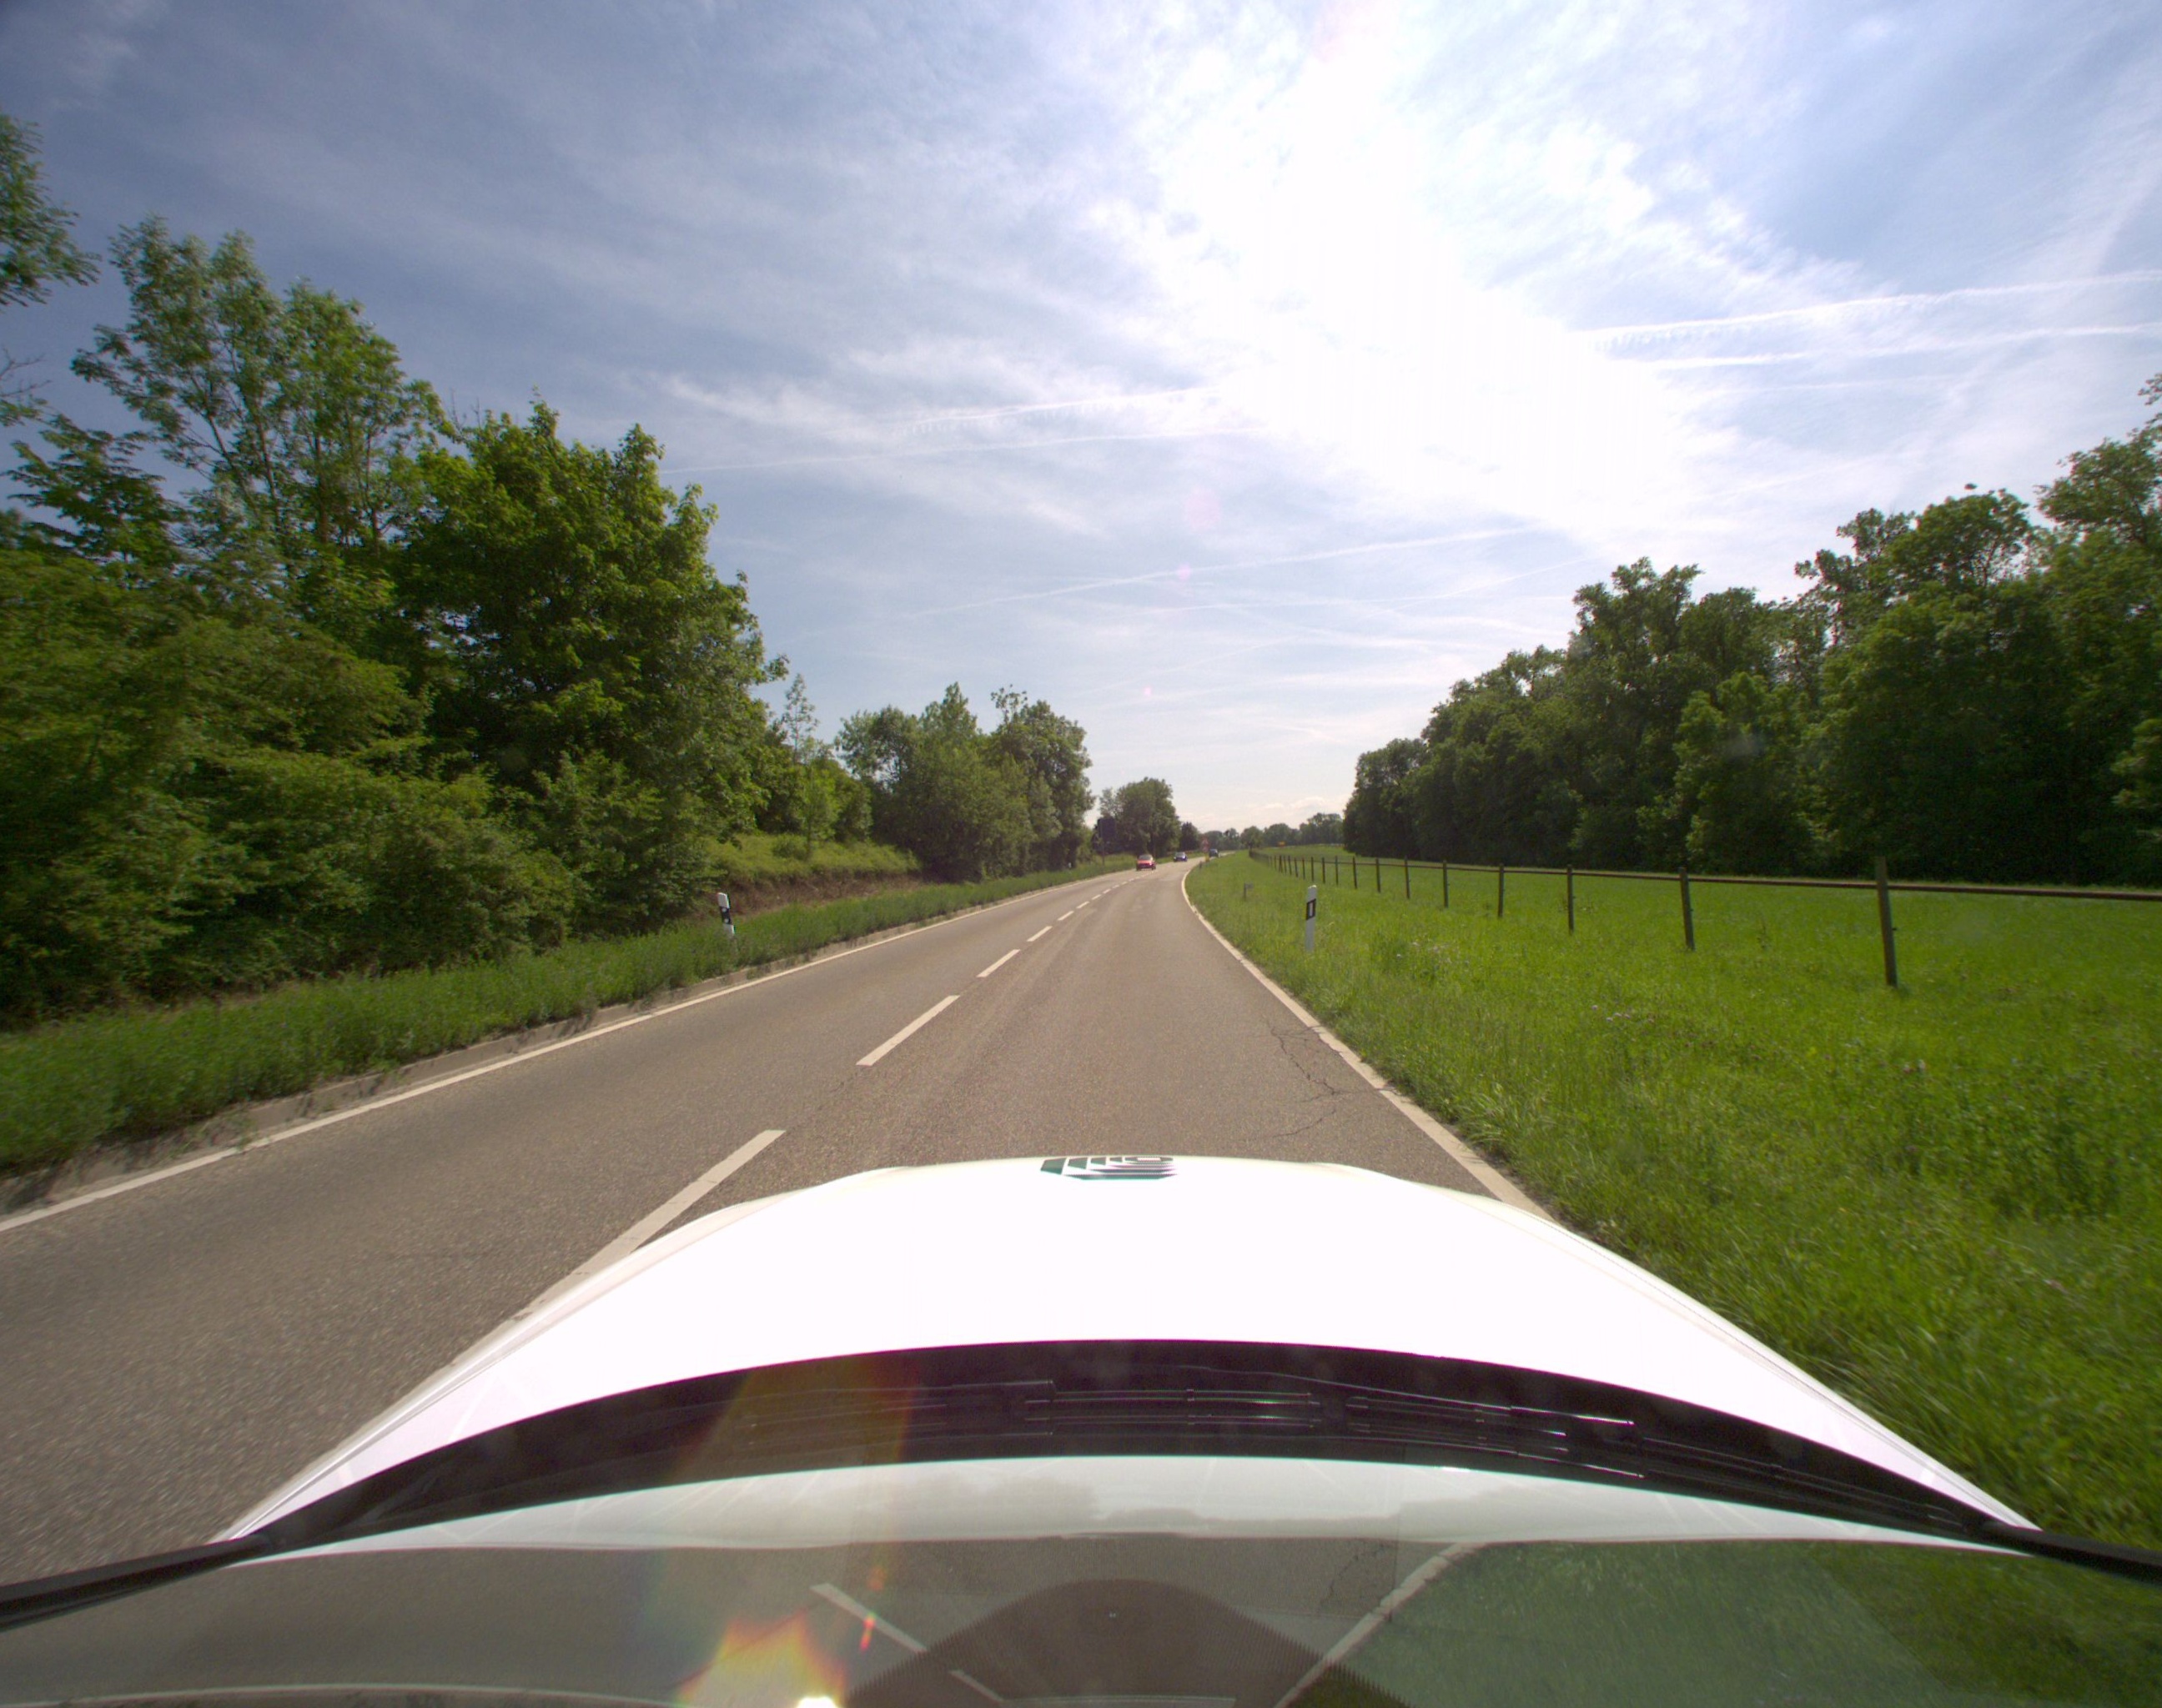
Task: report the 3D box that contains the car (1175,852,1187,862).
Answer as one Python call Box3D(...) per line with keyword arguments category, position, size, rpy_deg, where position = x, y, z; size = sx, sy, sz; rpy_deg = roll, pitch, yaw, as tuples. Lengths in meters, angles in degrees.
Box3D(category="car", position=(15.199, 0.440, 124.135), size=(1.811, 1.469, 4.007), rpy_deg=(-1, 0, 6))

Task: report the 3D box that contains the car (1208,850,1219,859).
Box3D(category="car", position=(26.057, 0.117, 159.720), size=(1.981, 1.574, 4.012), rpy_deg=(-1, 0, 10))

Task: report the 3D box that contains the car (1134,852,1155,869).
Box3D(category="car", position=(5.937, 0.589, 75.555), size=(1.811, 1.469, 4.007), rpy_deg=(-1, 0, 6))
